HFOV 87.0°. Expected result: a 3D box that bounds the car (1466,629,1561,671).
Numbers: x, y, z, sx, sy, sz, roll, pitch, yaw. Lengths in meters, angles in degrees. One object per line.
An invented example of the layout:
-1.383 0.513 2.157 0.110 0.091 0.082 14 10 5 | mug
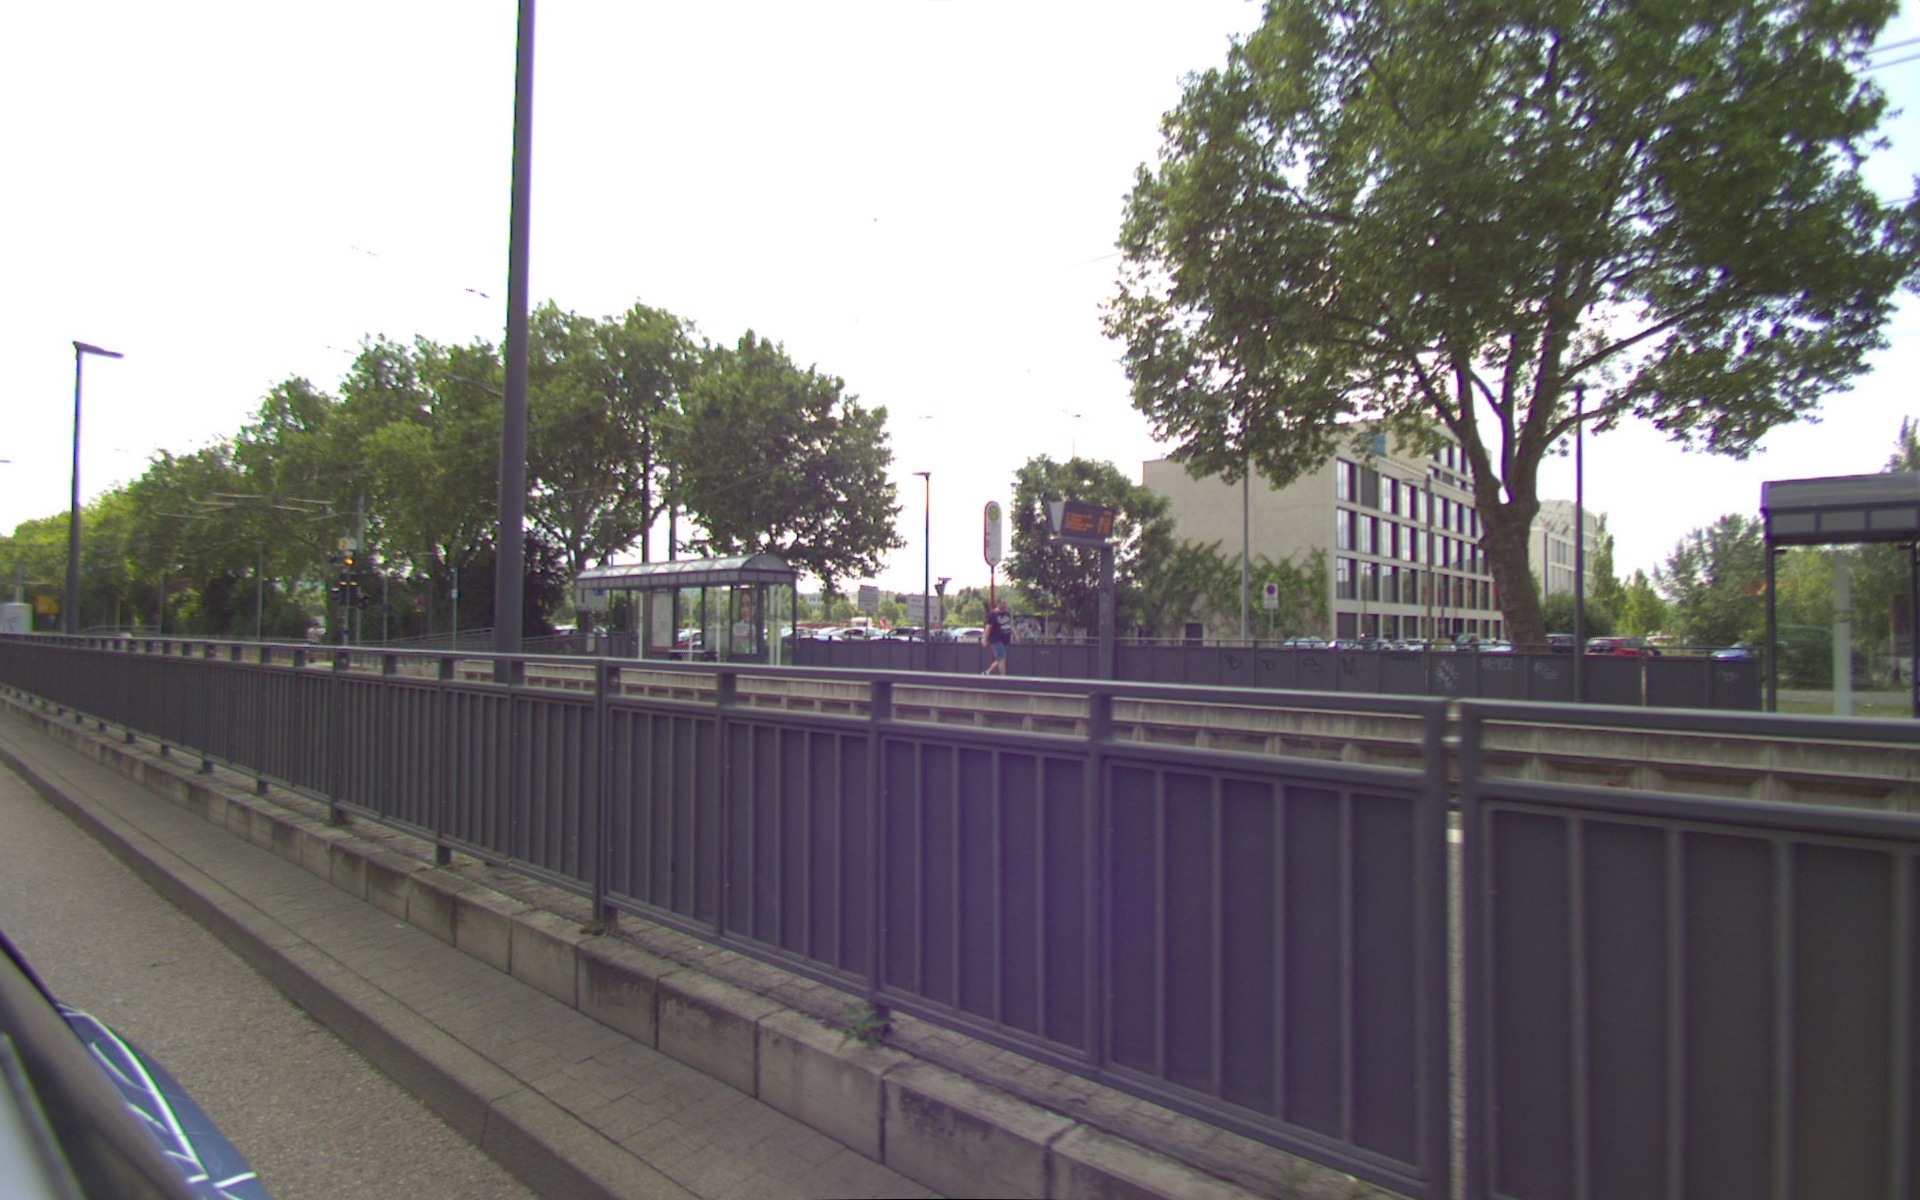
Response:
28.989 2.637 53.064 4.362 2.029 2.006 2 -3 -21 | car

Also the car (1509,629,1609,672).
29.941 2.533 50.614 4.362 2.029 2.006 2 -3 -21 | car

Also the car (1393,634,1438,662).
31.629 3.359 70.235 1.759 1.828 3.990 -1 -4 41 | car

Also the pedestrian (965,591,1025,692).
0.662 0.773 19.227 0.864 1.859 0.699 0 -2 40 | pedestrian

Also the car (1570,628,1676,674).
31.207 2.410 47.654 4.362 2.029 2.006 2 -3 -21 | car

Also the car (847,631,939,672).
-2.697 2.045 40.271 3.654 1.546 1.671 -3 -4 44 | car

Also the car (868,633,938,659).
-3.395 2.697 59.652 3.998 1.487 1.779 -2 -3 41 | car

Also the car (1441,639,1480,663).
39.158 3.996 79.130 1.759 1.828 3.990 -1 -4 41 | car

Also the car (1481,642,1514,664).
47.006 4.664 88.477 1.759 1.828 3.990 -1 -4 41 | car

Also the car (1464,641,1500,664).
43.526 4.369 84.367 1.759 1.828 3.990 -1 -4 41 | car

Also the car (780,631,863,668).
-6.036 2.154 43.823 3.654 1.546 1.671 -3 -4 44 | car

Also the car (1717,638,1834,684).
37.490 2.788 46.567 3.936 2.029 2.004 0 -3 -9 | car

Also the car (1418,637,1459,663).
35.395 3.688 74.884 1.759 1.828 3.990 -1 -4 41 | car

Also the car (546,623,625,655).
-22.737 2.384 61.541 1.999 1.845 4.053 -1 -4 42 | car

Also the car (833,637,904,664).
-5.221 2.860 57.636 3.998 1.487 1.779 -2 -3 41 | car

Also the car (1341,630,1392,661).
25.311 2.831 62.895 1.759 1.828 3.990 -1 -4 41 | car

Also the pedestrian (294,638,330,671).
-27.614 2.316 43.140 0.912 1.354 0.862 1 -3 8 | pedestrian

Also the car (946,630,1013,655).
1.255 2.739 65.420 4.104 1.494 1.860 -1 -4 41 | car

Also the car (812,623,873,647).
-8.054 2.387 69.506 1.777 1.438 3.945 -1 0 42 | car
